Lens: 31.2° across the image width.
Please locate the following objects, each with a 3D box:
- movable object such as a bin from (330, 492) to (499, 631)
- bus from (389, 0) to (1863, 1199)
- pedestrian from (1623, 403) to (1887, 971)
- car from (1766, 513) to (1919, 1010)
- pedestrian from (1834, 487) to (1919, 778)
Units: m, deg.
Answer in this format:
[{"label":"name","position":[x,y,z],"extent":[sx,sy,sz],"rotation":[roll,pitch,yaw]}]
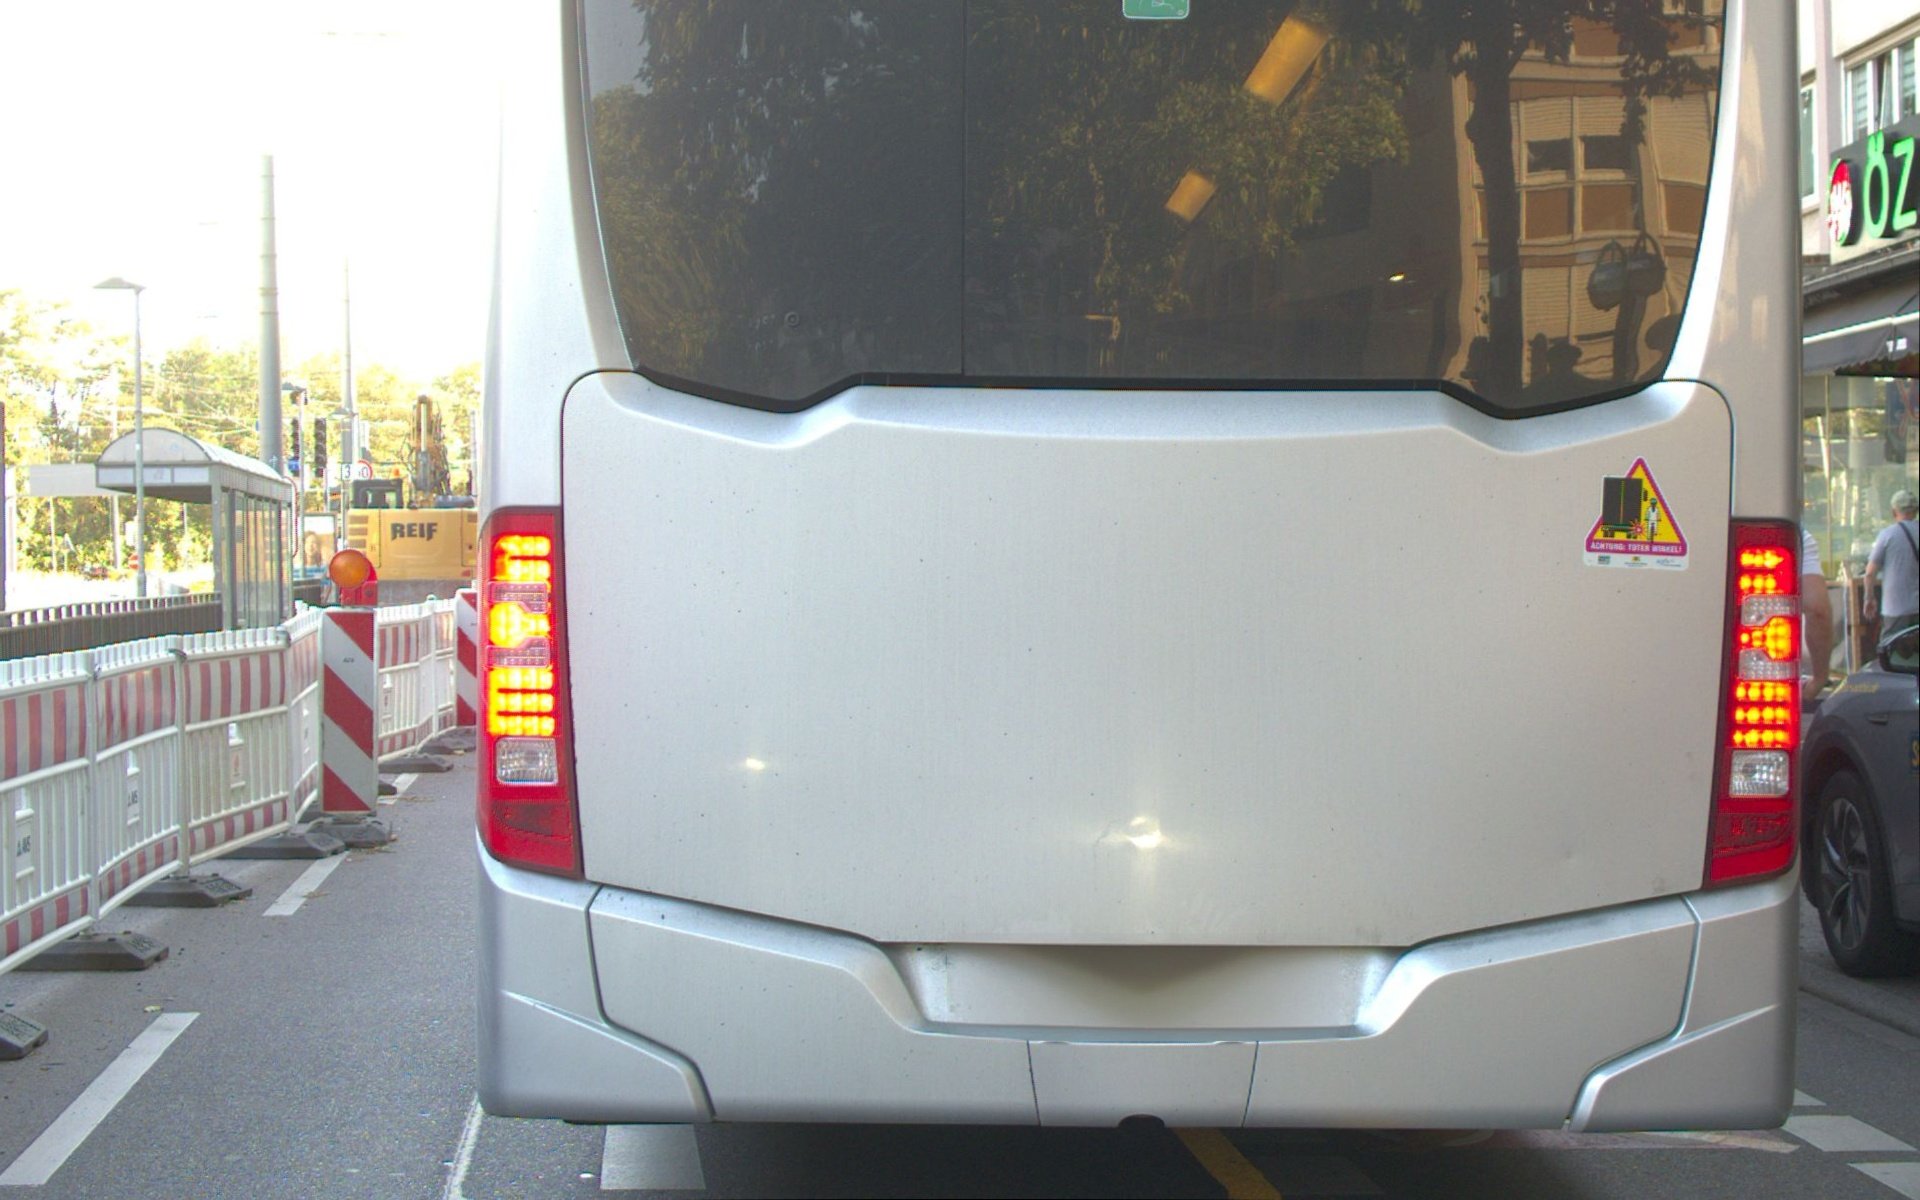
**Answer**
[{"label":"movable object such as a bin","position":[-10.049,-0.719,63.664],"extent":[2.806,2.453,4.001],"rotation":[-1,1,-5]},{"label":"bus","position":[0.269,-0.285,11.242],"extent":[2.608,3.159,10.292],"rotation":[0,1,0]},{"label":"pedestrian","position":[2.924,0.311,12.607],"extent":[0.770,2.007,0.713],"rotation":[-2,1,22]},{"label":"car","position":[3.997,0.494,10.298],"extent":[1.739,1.592,4.300],"rotation":[-3,1,-5]},{"label":"pedestrian","position":[6.605,0.218,24.177],"extent":[0.690,2.007,0.696],"rotation":[-1,0,-3]}]
